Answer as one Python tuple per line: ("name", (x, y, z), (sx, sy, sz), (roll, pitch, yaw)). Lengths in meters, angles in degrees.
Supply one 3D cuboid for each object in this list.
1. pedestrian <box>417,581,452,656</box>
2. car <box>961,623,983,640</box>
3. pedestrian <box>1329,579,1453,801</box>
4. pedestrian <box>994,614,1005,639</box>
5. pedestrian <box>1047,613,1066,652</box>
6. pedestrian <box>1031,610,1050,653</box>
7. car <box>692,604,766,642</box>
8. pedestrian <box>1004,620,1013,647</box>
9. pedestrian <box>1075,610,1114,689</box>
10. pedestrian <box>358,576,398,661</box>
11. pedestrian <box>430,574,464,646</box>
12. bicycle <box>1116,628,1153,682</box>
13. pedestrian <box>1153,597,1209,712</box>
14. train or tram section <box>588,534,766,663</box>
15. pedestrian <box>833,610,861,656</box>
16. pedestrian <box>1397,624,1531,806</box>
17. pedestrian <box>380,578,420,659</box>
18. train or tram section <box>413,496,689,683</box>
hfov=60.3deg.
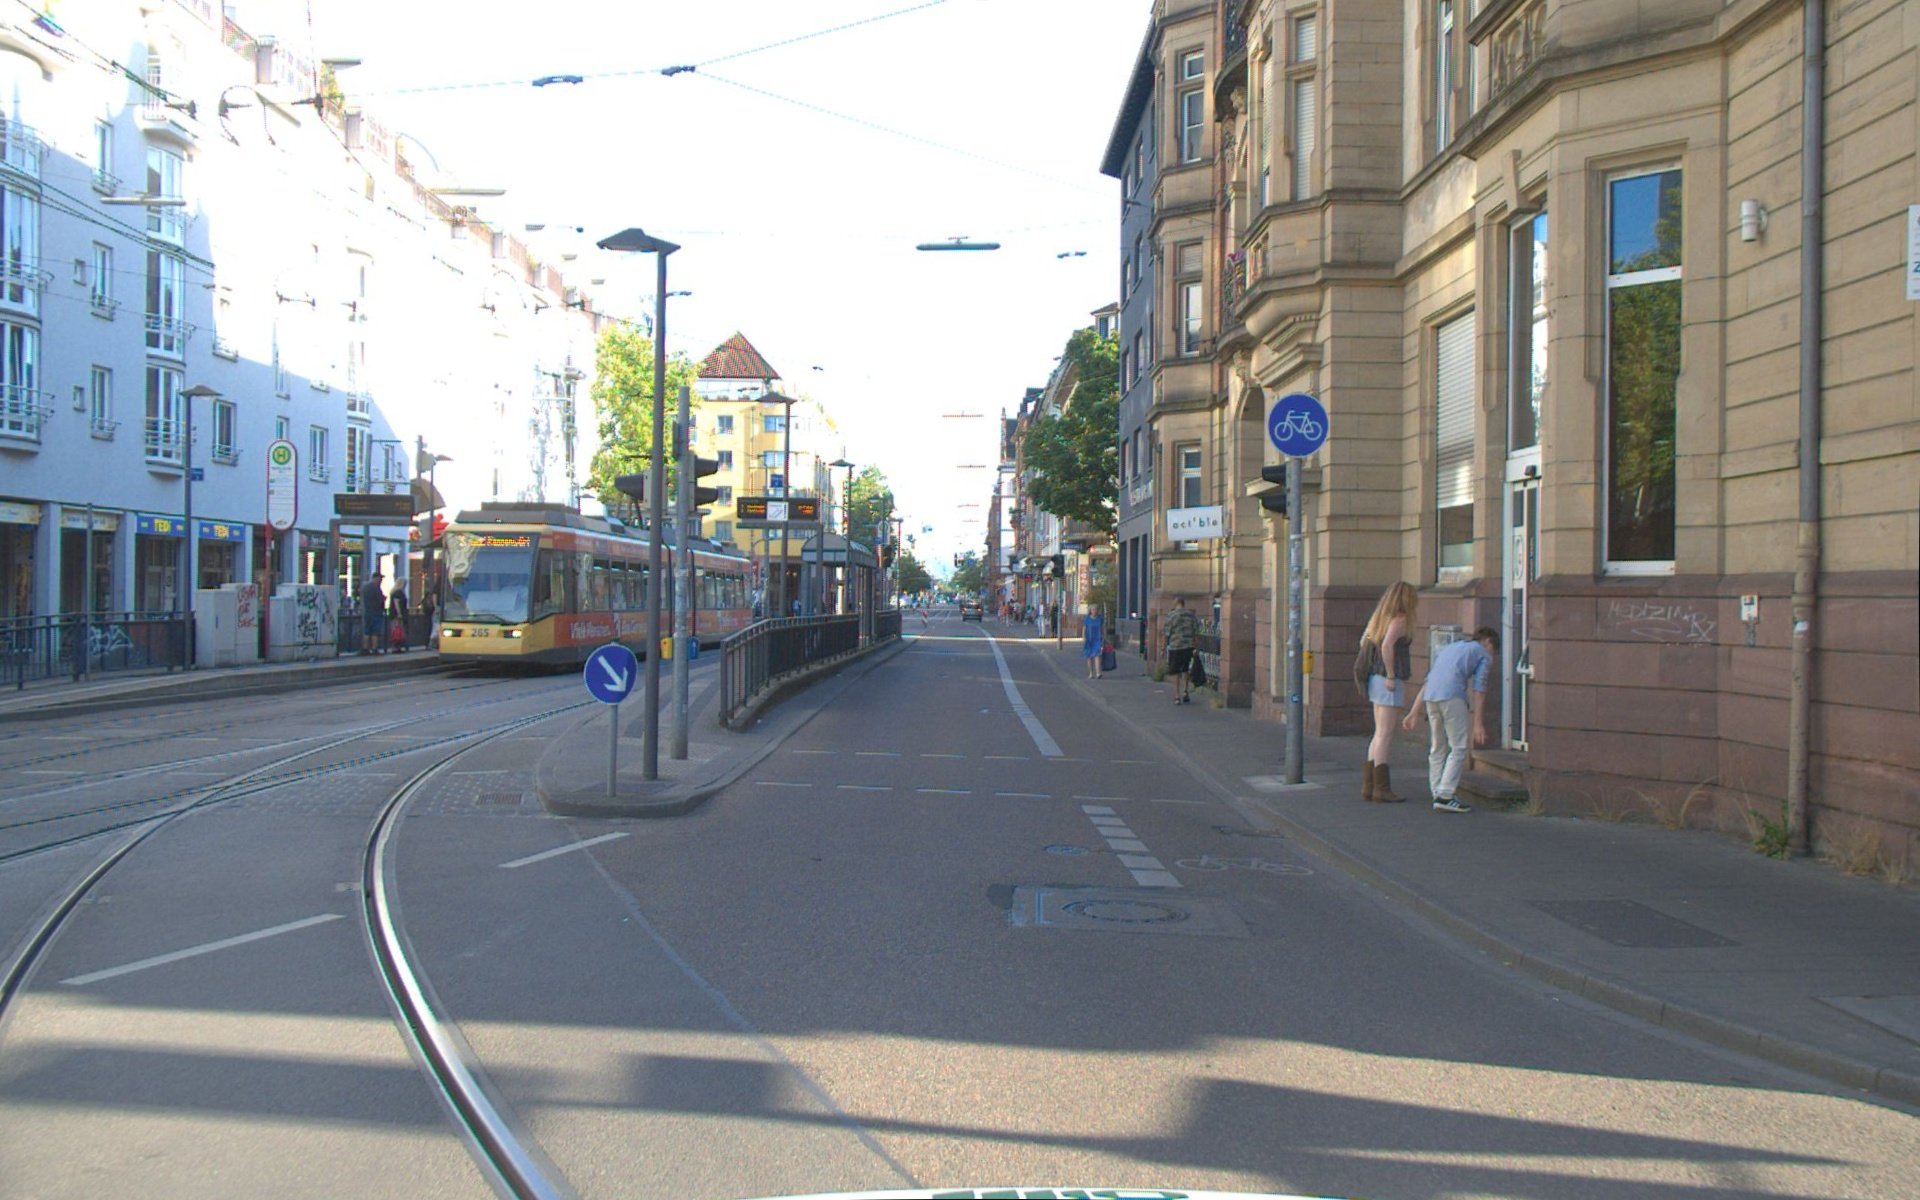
("pedestrian", (-12.198, 0.423, 38.360), (0.686, 1.721, 0.667), (1, -1, -24))
("car", (1.067, 2.861, 150.866), (1.953, 1.475, 4.000), (1, 0, 0))
("pedestrian", (3.506, 0.721, 13.503), (0.778, 1.751, 0.719), (-1, -1, -2))
("pedestrian", (3.169, 2.104, 131.465), (0.826, 1.951, 0.661), (1, 0, -2))
("pedestrian", (4.176, 1.382, 71.404), (0.699, 1.630, 0.773), (-2, 1, -3))
("pedestrian", (3.459, 1.345, 71.201), (0.699, 1.805, 0.773), (-2, 1, -3))
("car", (-16.833, 1.667, 120.460), (5.000, 2.621, 2.128), (1, 0, 1))
("pedestrian", (3.319, 2.275, 112.319), (0.548, 1.828, 0.651), (1, 0, 7))
("pedestrian", (2.910, 1.068, 35.878), (0.747, 1.674, 0.832), (-1, 0, -1))
("pedestrian", (-11.992, 0.382, 34.102), (0.586, 1.721, 0.613), (1, -1, 0))
("pedestrian", (-12.459, 0.238, 40.167), (0.686, 1.721, 0.667), (1, -1, -24))
("bicycle", (4.278, 1.343, 40.689), (0.611, 1.219, 1.907), (-2, 0, -1))
("pedestrian", (3.655, 0.884, 27.379), (0.784, 1.856, 0.797), (-1, 0, -1))
("train or tram section", (-8.768, -0.031, 53.589), (2.825, 3.551, 14.952), (1, 0, 1))
("pedestrian", (-2.995, 0.873, 43.794), (0.671, 1.196, 0.537), (0, 0, 1))
("pedestrian", (3.895, 0.872, 12.823), (0.778, 1.355, 0.719), (-1, -1, -2))
("pedestrian", (-12.213, 0.400, 36.068), (0.752, 1.763, 0.517), (0, -1, 42))
("train or tram section", (-9.042, -0.185, 38.953), (2.826, 3.551, 14.168), (1, 0, 1))
